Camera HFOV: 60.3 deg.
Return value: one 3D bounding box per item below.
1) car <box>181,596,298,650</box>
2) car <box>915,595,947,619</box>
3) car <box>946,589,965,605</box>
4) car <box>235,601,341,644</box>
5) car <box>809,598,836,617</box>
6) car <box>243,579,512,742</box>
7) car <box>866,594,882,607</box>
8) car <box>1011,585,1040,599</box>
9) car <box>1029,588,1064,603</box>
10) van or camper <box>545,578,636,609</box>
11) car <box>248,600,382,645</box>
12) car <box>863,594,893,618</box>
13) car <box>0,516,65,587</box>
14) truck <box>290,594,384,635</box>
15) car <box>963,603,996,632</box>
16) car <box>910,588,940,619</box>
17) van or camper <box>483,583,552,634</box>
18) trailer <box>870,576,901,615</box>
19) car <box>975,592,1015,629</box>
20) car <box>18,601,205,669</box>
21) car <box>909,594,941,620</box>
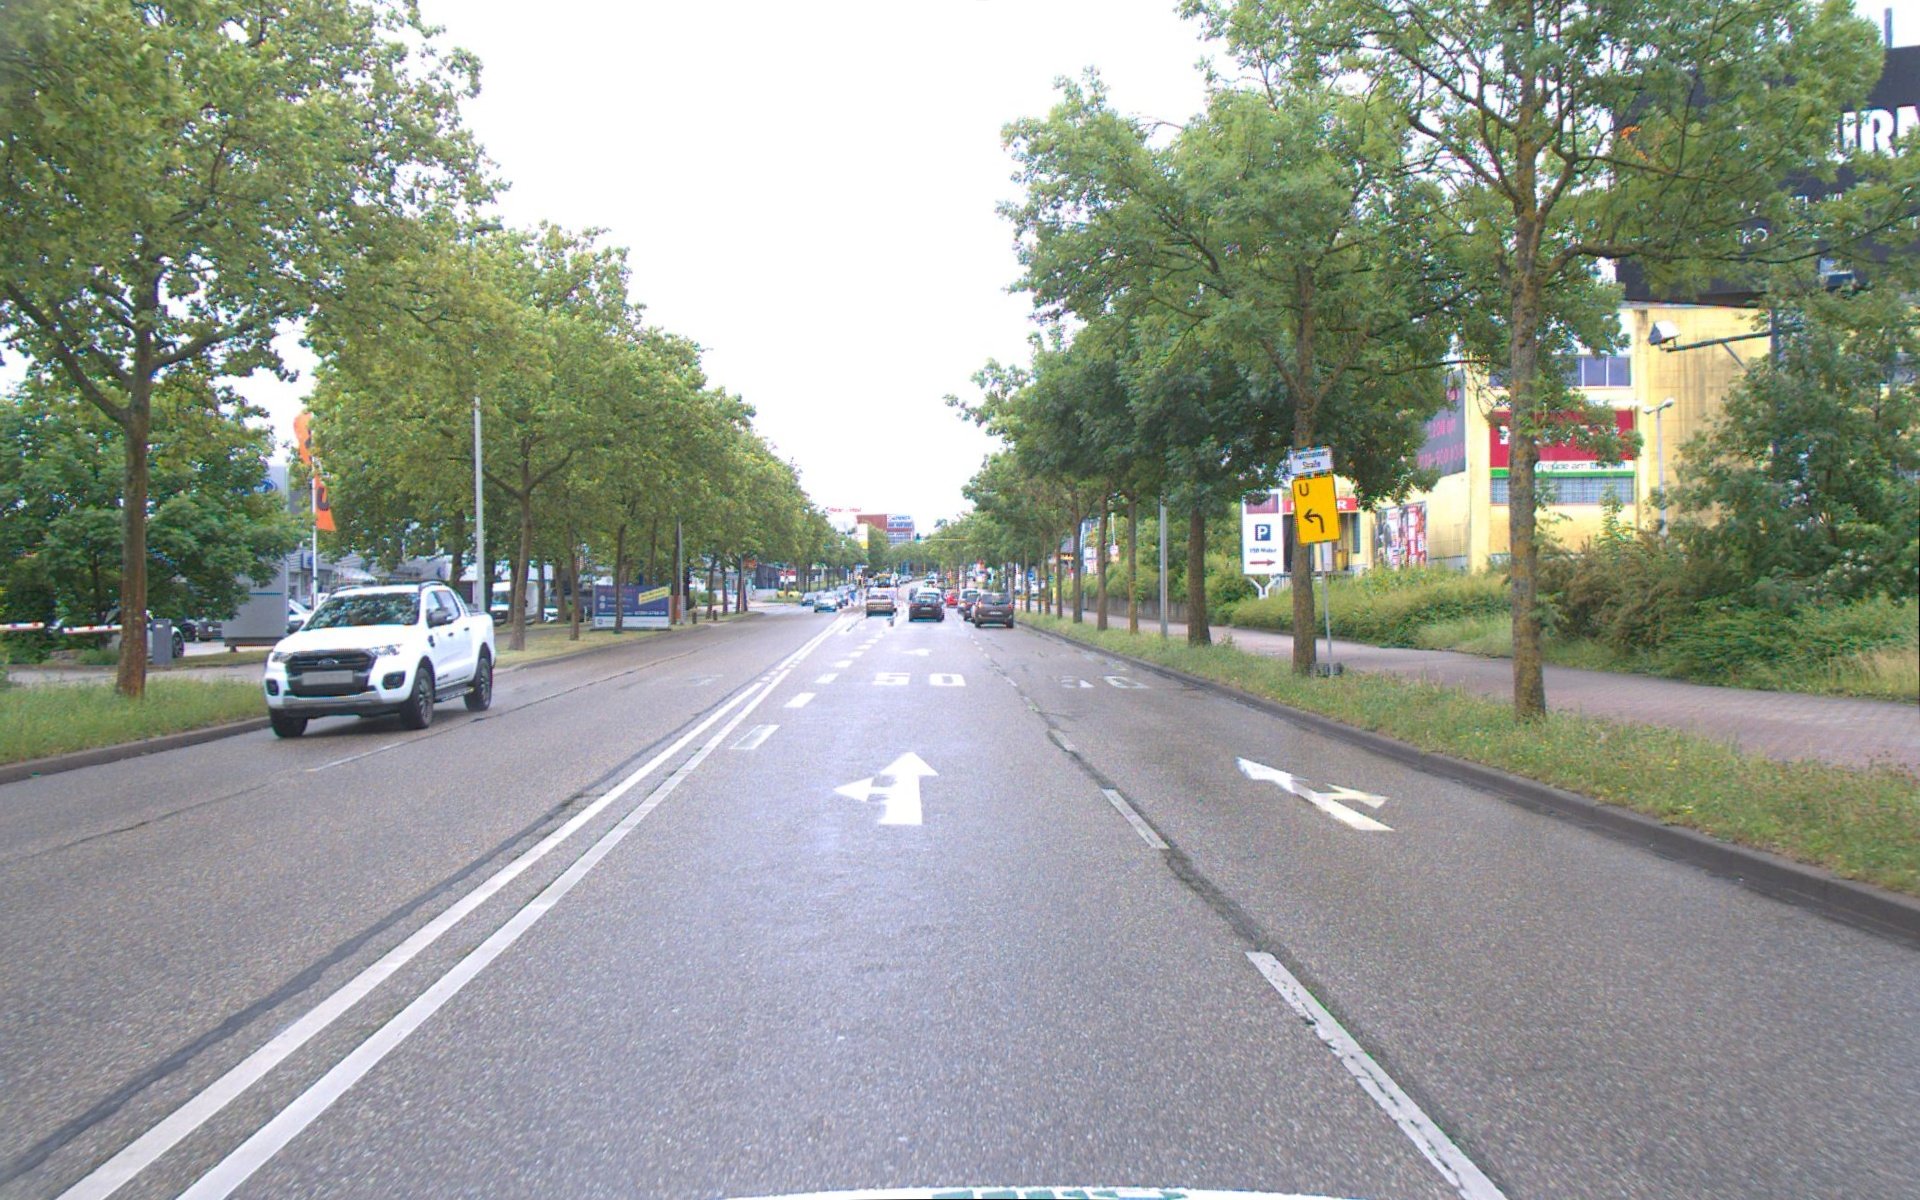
[{"bbox_3d":[-29.042,0.911,66.749,3.908,2.049,1.881,-1,0,-4],"label":"car"},{"bbox_3d":[-1.750,0.420,100.104,1.649,1.401,3.996,-1,0,-5],"label":"car"},{"bbox_3d":[-0.408,-0.311,154.022,1.661,1.468,3.988,-1,0,-1],"label":"car"},{"bbox_3d":[-29.569,0.967,72.840,3.908,1.797,1.881,-1,0,-4],"label":"car"},{"bbox_3d":[-11.277,0.585,135.333,1.956,1.454,4.677,-2,0,-7],"label":"car"},{"bbox_3d":[-7.579,0.704,22.152,1.873,1.837,5.338,-2,0,-3],"label":"car"},{"bbox_3d":[-9.697,0.010,187.256,1.649,1.401,3.996,-1,0,-5],"label":"car"},{"bbox_3d":[8.258,-1.008,207.842,3.568,1.563,1.619,-1,0,-42],"label":"car"},{"bbox_3d":[9.905,-0.536,189.308,1.896,1.604,4.267,-1,1,39],"label":"car"},{"bbox_3d":[-23.321,-0.406,104.356,5.221,1.853,2.246,-1,0,-28],"label":"van or camper"},{"bbox_3d":[-29.761,1.013,76.470,5.271,1.936,2.413,-1,0,-5],"label":"car"},{"bbox_3d":[-5.657,0.400,114.374,1.868,1.606,4.879,-1,0,-1],"label":"car"},{"bbox_3d":[-27.761,-1.341,46.686,3.906,1.922,1.963,-1,0,-1],"label":"car"},{"bbox_3d":[-30.024,0.706,79.760,3.916,1.870,1.995,-1,0,-11],"label":"truck"},{"bbox_3d":[1.142,1.046,98.691,1.764,1.614,4.450,1,0,-1],"label":"car"},{"bbox_3d":[-2.385,0.237,112.342,1.953,2.049,3.998,1,-1,-2],"label":"car"},{"bbox_3d":[-22.849,0.432,85.706,1.953,2.513,6.400,1,0,-1],"label":"van or camper"},{"bbox_3d":[-5.848,-0.332,129.370,2.325,2.947,5.542,-1,0,-3],"label":"trailer"},{"bbox_3d":[1.613,0.487,77.862,1.691,1.652,4.469,-1,0,-1],"label":"car"},{"bbox_3d":[-20.859,0.813,40.937,2.075,1.522,5.244,-1,0,-2],"label":"car"},{"bbox_3d":[-1.947,0.369,91.224,1.746,1.422,3.998,0,0,-2],"label":"car"}]
